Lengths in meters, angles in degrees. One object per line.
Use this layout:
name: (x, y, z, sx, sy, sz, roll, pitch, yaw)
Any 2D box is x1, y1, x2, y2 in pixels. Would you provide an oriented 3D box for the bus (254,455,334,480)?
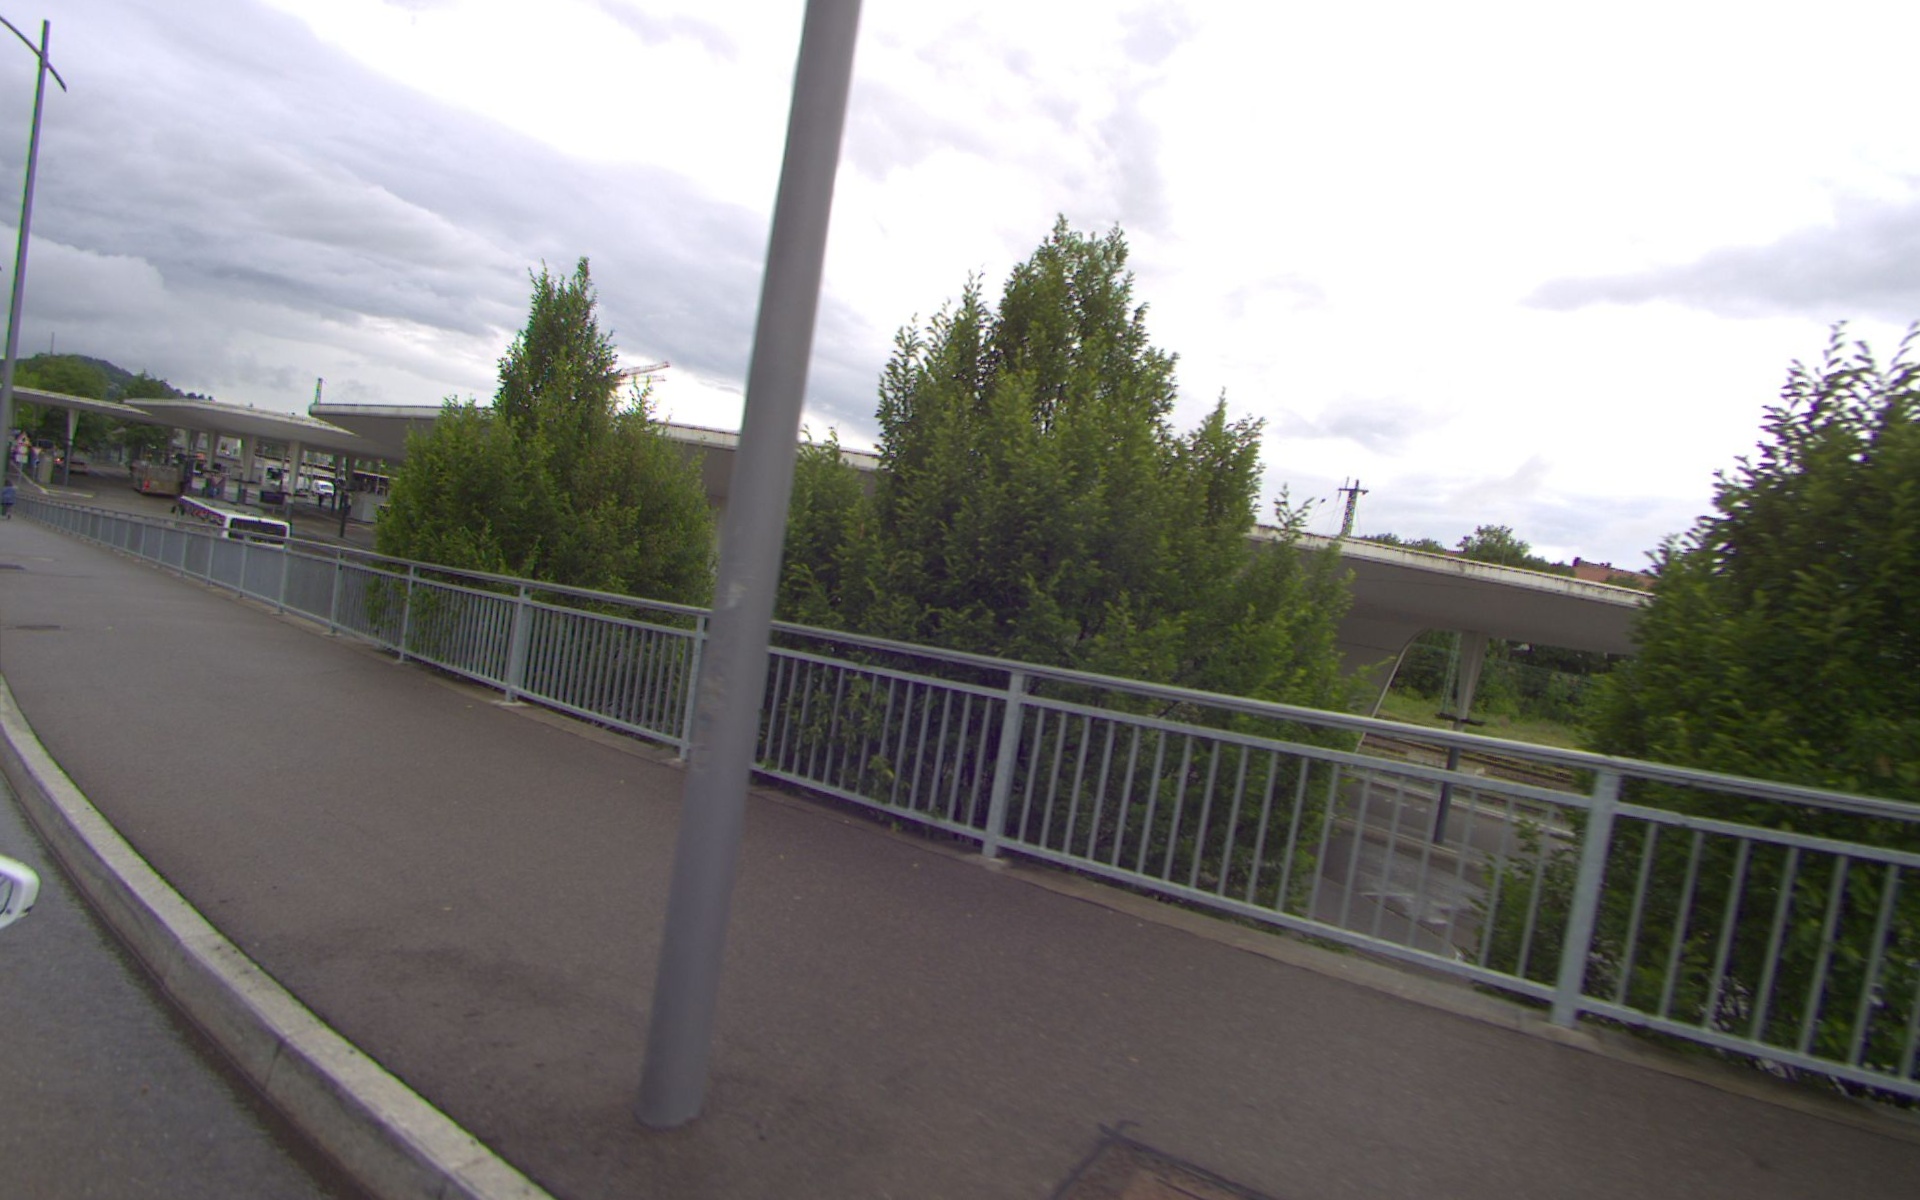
bus: (-104.860, -20.881, 158.553, 2.139, 2.038, 10.155, 8, 0, 41)

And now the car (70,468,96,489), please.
car: (-101.842, -14.065, 116.861, 1.985, 2.039, 3.954, 7, 1, -40)

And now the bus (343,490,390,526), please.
bus: (-64.339, -10.014, 108.996, 2.592, 3.251, 6.903, 6, 2, -44)

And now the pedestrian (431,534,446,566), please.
pedestrian: (-34.310, -3.303, 66.162, 0.554, 2.039, 0.481, 8, 2, 37)

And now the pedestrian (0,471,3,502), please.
pedestrian: (-39.063, -4.197, 40.601, 0.488, 2.038, 0.464, 6, 0, -44)

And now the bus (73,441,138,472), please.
bus: (-134.174, -22.491, 157.976, 3.037, 3.440, 7.189, 10, 2, 40)

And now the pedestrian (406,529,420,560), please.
pedestrian: (-37.972, -3.847, 69.838, 0.572, 2.039, 0.542, 8, 2, 45)

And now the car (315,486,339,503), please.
car: (-95.218, -15.838, 151.374, 3.945, 2.039, 1.989, 10, 2, 44)

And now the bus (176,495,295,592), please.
bus: (-33.859, -2.685, 46.885, 6.967, 3.276, 2.645, 12, 2, 41)

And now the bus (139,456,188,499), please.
bus: (-80.908, -12.334, 102.085, 3.166, 3.645, 10.387, 7, 0, -41)

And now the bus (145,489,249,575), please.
bus: (-39.114, -3.549, 51.471, 6.967, 3.279, 2.642, 12, 4, 41)

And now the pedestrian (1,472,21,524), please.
pedestrian: (-38.690, -4.139, 41.010, 0.422, 2.038, 0.477, 6, 0, -44)
